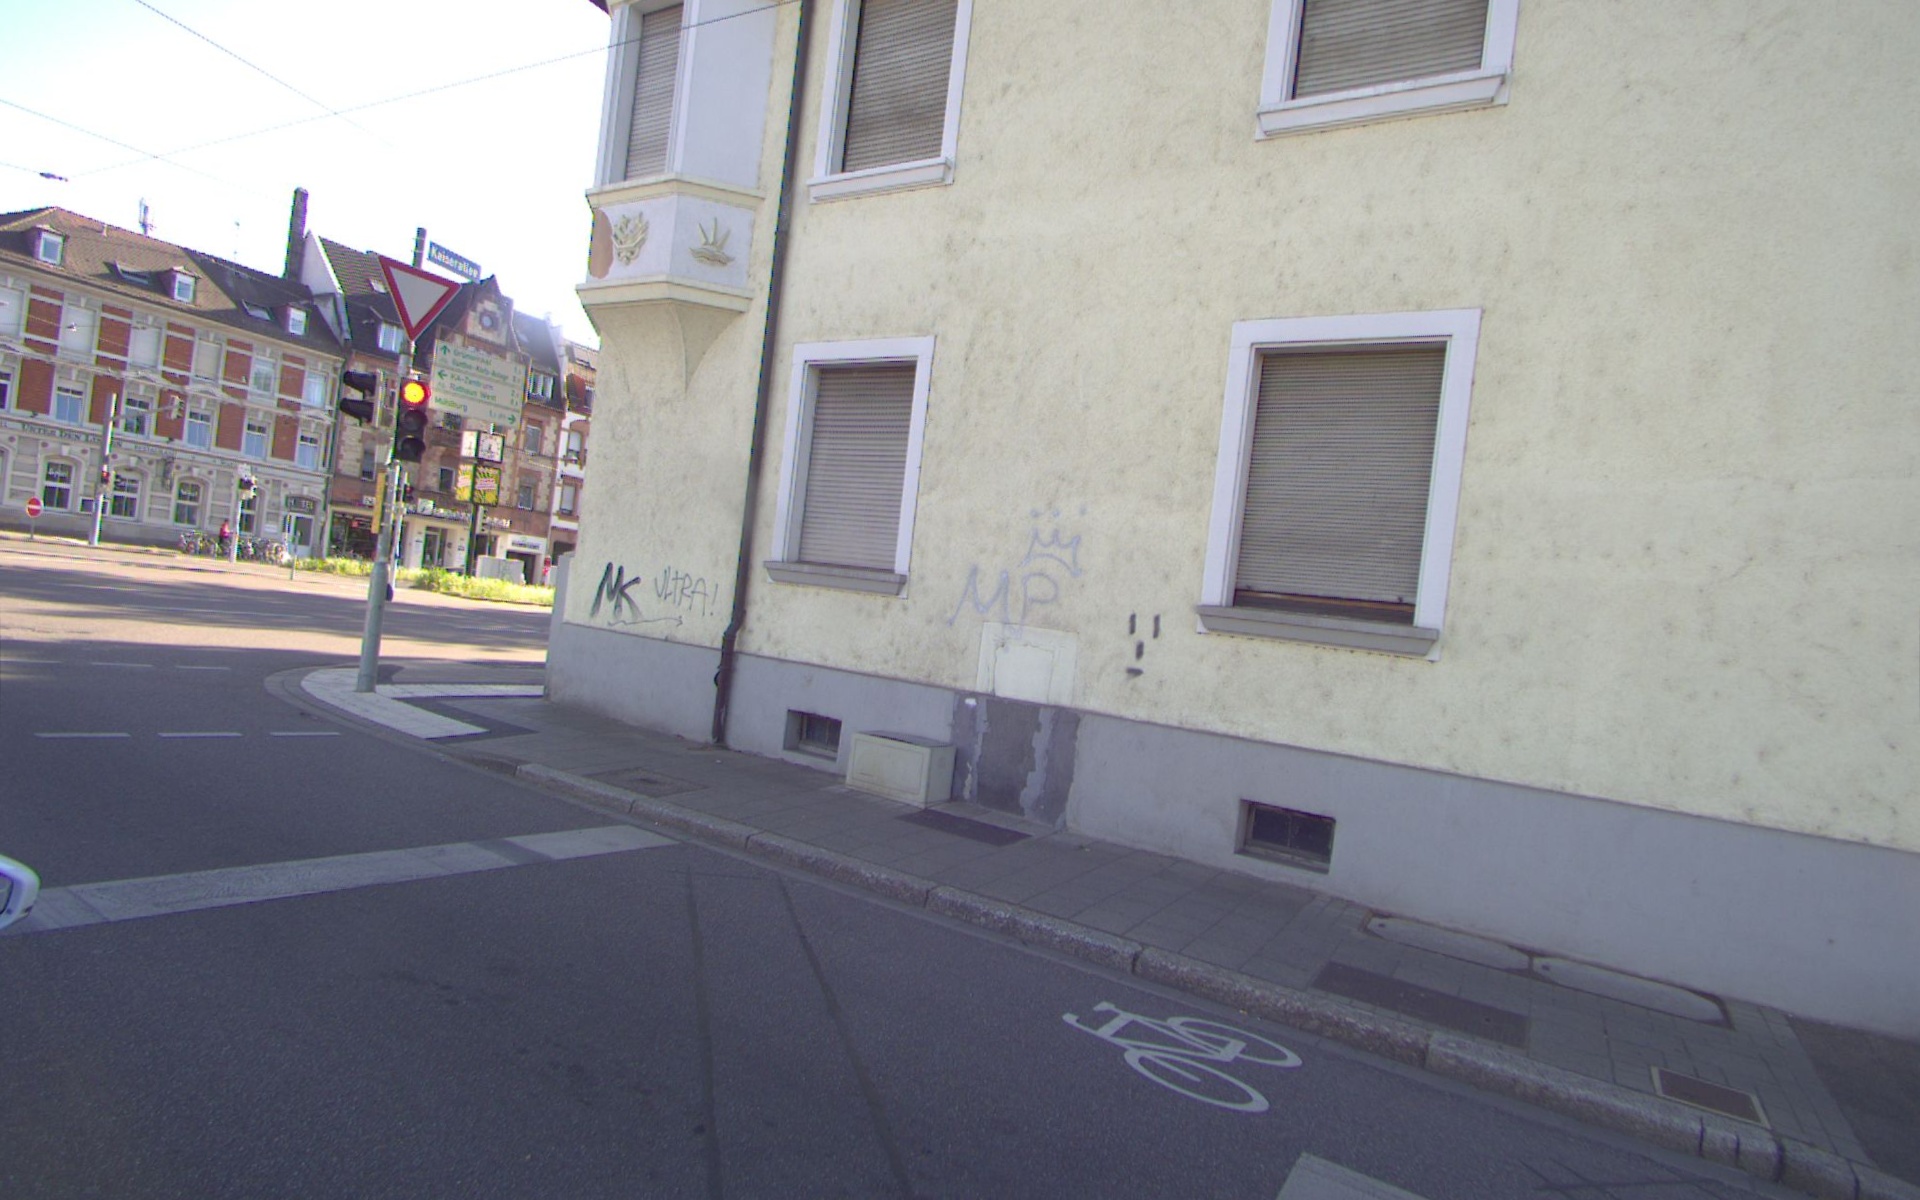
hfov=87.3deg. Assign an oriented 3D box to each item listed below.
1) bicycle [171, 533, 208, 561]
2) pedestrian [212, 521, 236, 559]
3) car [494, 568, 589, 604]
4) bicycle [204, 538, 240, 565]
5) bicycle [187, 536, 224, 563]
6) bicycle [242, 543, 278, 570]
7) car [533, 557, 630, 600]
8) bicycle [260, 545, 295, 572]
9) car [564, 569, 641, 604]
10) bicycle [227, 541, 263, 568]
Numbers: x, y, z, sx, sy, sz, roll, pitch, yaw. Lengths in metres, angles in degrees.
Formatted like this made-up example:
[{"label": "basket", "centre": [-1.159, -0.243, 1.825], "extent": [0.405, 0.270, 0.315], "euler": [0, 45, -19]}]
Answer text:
[{"label": "bicycle", "centre": [-34.950, -2.388, 45.608], "extent": [1.614, 1.064, 0.606], "euler": [7, 0, 27]}, {"label": "pedestrian", "centre": [-36.253, -2.948, 49.565], "extent": [0.414, 1.773, 0.709], "euler": [7, 0, 33]}, {"label": "car", "centre": [-23.240, -0.773, 56.047], "extent": [1.966, 1.356, 4.520], "euler": [7, -1, 30]}, {"label": "bicycle", "centre": [-34.320, -2.258, 46.766], "extent": [1.614, 1.064, 0.606], "euler": [7, 0, 27]}, {"label": "bicycle", "centre": [-34.651, -2.325, 46.190], "extent": [1.614, 1.064, 0.606], "euler": [7, 0, 27]}, {"label": "bicycle", "centre": [-33.360, -2.084, 47.947], "extent": [1.614, 1.064, 0.606], "euler": [7, 0, 27]}, {"label": "car", "centre": [-20.333, -1.110, 54.201], "extent": [1.967, 1.692, 4.518], "euler": [7, -1, 31]}, {"label": "bicycle", "centre": [-32.986, -2.009, 48.584], "extent": [1.614, 1.064, 0.606], "euler": [7, 0, 27]}, {"label": "car", "centre": [-23.128, -0.857, 65.305], "extent": [1.966, 1.674, 4.378], "euler": [7, -1, 29]}, {"label": "bicycle", "centre": [-33.654, -2.147, 47.336], "extent": [1.614, 1.064, 0.606], "euler": [7, 0, 27]}]
